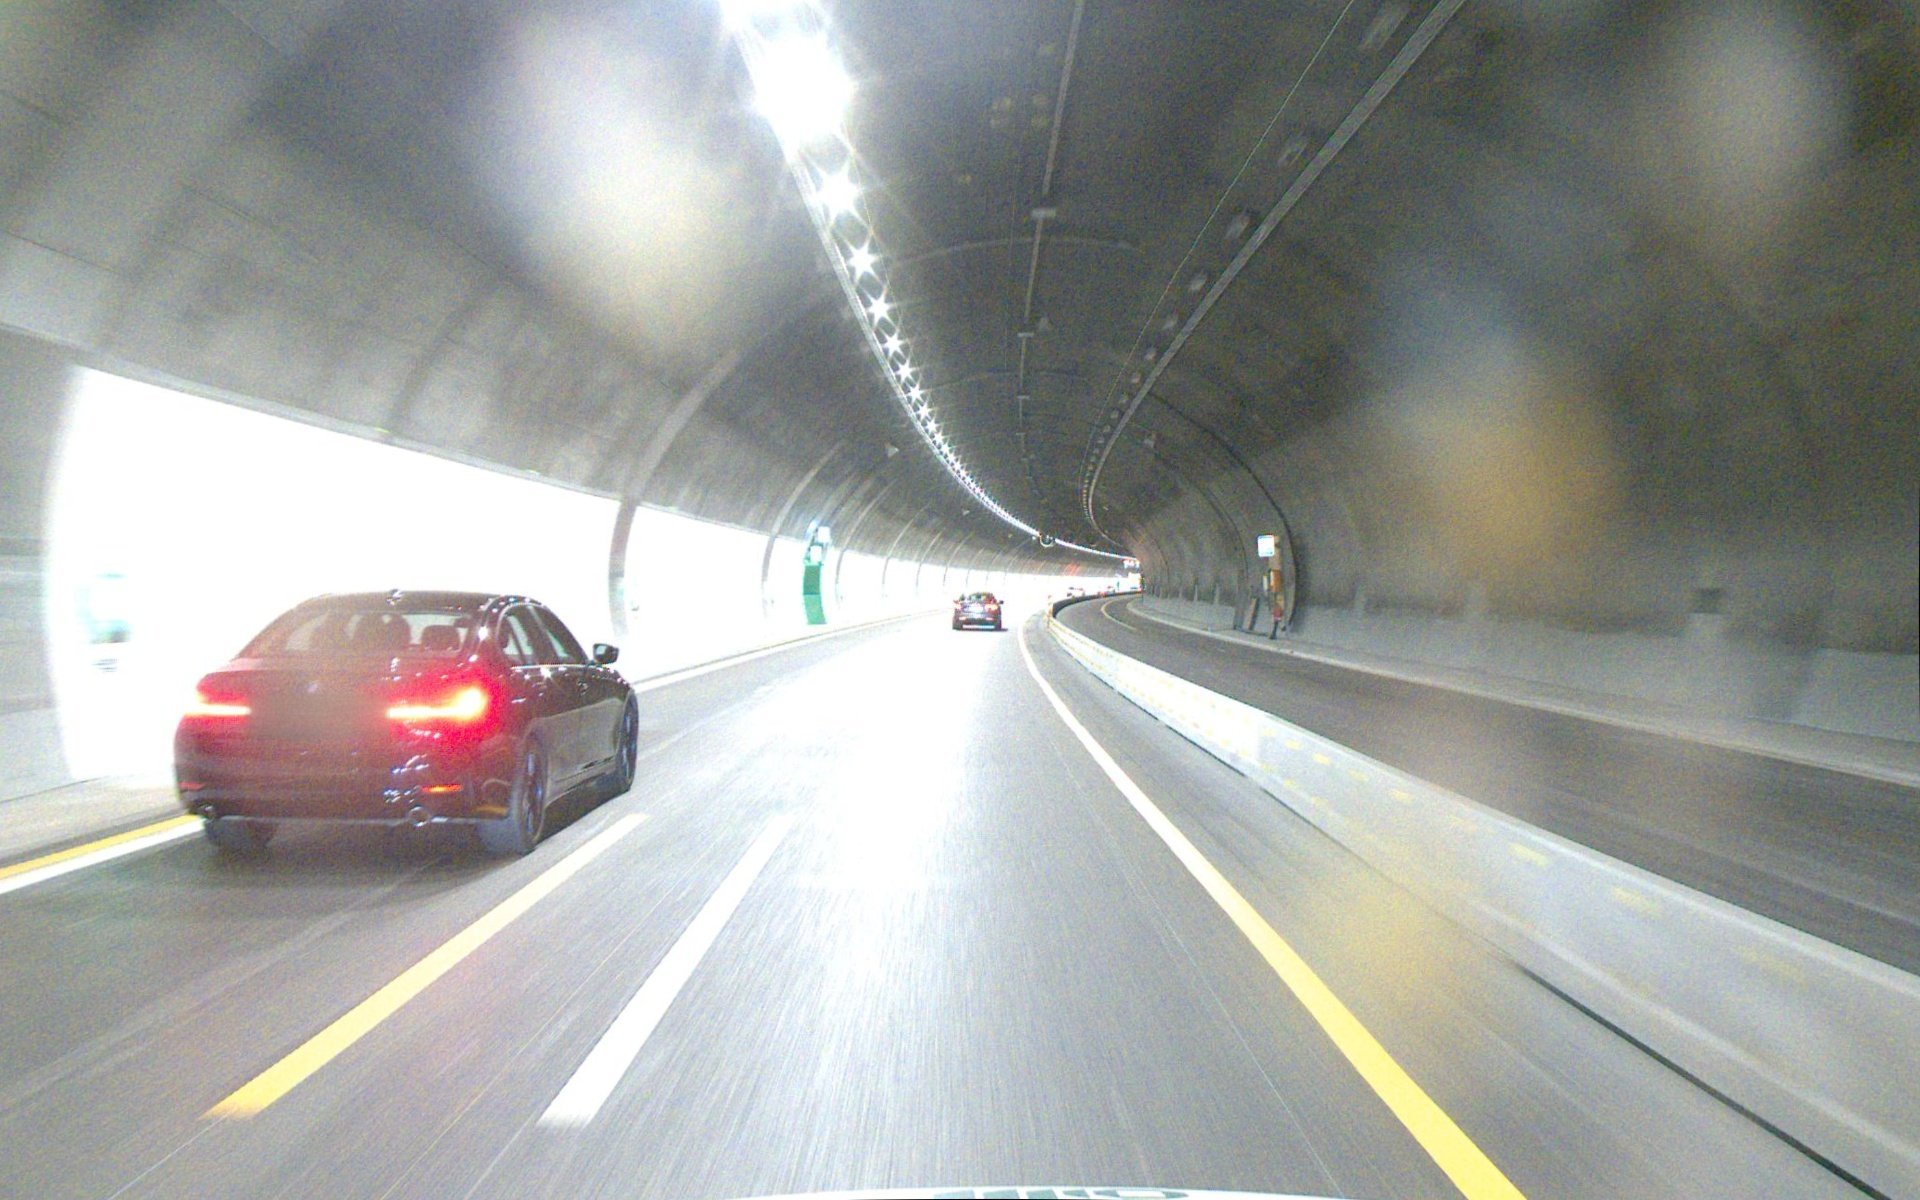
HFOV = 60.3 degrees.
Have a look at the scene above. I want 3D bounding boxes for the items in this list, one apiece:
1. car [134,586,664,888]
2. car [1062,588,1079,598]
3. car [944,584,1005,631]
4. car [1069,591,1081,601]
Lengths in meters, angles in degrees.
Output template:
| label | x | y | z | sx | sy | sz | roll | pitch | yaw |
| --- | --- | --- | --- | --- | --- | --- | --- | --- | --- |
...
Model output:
| label | x | y | z | sx | sy | sz | roll | pitch | yaw |
| --- | --- | --- | --- | --- | --- | --- | --- | --- | --- |
| car | -3.208 | 0.659 | 10.614 | 1.741 | 1.463 | 4.882 | 1 | 0 | 0 |
| car | 16.973 | -1.114 | 253.980 | 2.118 | 1.512 | 4.004 | 1 | 1 | 10 |
| car | 0.585 | 0.255 | 63.233 | 2.096 | 1.735 | 4.002 | 0 | 1 | 3 |
| car | 15.753 | -0.571 | 226.234 | 1.561 | 1.356 | 3.753 | 1 | 0 | 5 |
